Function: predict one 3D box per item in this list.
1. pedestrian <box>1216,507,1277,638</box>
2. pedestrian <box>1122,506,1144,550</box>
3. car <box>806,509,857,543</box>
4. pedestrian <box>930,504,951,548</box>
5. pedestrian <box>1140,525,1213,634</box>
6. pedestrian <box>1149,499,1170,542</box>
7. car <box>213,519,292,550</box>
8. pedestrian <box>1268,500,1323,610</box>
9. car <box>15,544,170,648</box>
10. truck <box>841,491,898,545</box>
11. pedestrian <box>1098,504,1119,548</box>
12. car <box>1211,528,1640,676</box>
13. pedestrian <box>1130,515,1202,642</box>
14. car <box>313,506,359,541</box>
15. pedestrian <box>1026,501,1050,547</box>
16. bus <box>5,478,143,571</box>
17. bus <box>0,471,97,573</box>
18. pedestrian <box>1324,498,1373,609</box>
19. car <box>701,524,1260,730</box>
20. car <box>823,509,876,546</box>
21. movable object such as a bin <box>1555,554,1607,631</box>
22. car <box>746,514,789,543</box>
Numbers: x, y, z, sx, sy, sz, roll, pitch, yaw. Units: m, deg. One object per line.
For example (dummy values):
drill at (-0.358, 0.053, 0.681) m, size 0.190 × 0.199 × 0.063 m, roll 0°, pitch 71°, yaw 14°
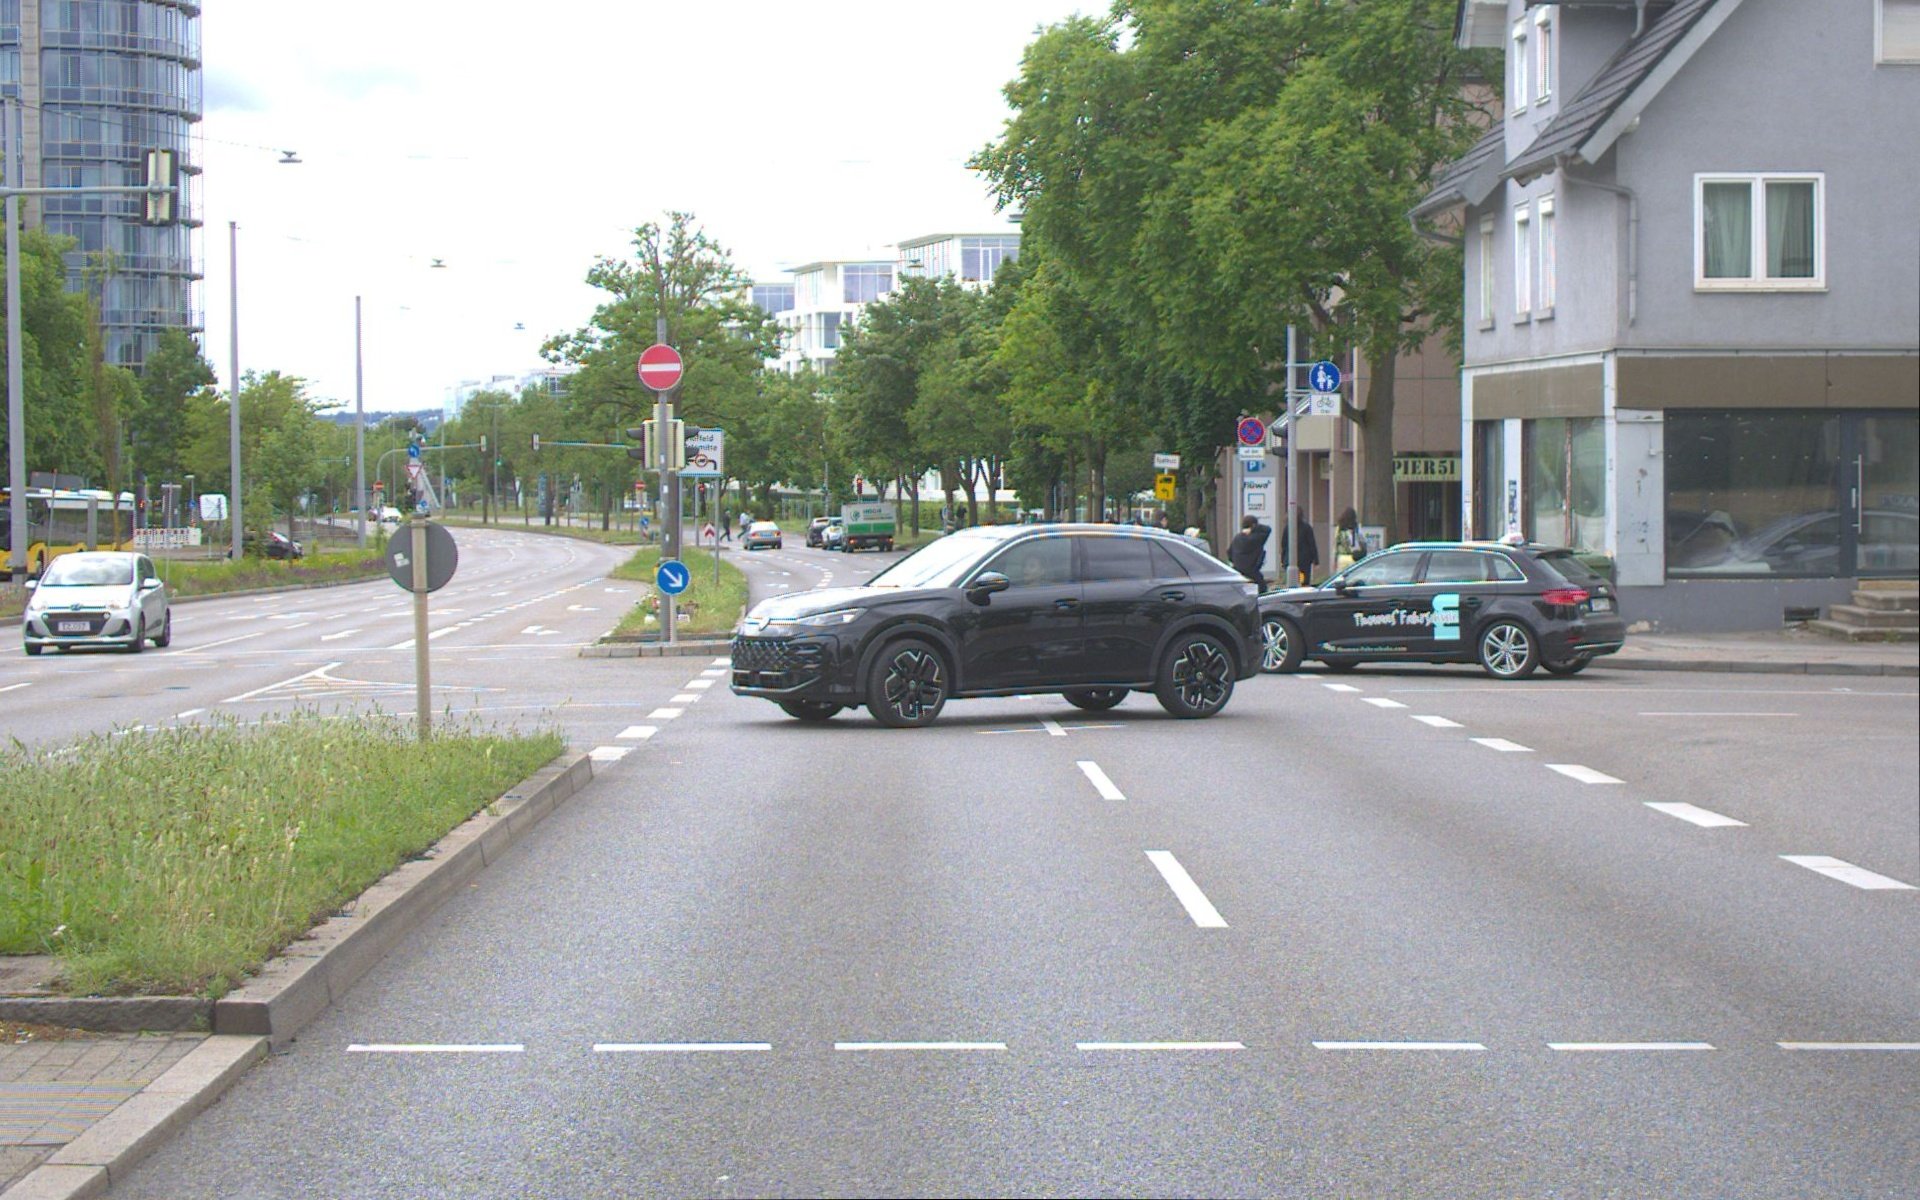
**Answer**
pedestrian at (3.915, -0.382, 47.015) m, size 0.705 × 1.754 × 1.052 m, roll -1°, pitch 1°, yaw -1°
pedestrian at (6.256, -2.594, 124.316) m, size 0.650 × 1.564 × 0.671 m, roll -1°, pitch 1°, yaw -8°
car at (-6.520, -3.730, 173.859) m, size 2.250 × 1.641 × 4.934 m, roll -1°, pitch 1°, yaw -5°
pedestrian at (-1.027, -3.902, 182.046) m, size 0.930 × 2.300 × 1.011 m, roll 1°, pitch 0°, yaw -10°
pedestrian at (3.022, -0.296, 48.032) m, size 0.867 × 1.502 × 0.708 m, roll -1°, pitch 1°, yaw -9°
pedestrian at (7.200, -2.864, 124.058) m, size 0.650 × 1.564 × 0.671 m, roll -1°, pitch 1°, yaw -8°
car at (-34.170, -3.165, 166.061) m, size 3.549 × 1.487 × 1.708 m, roll -1°, pitch 1°, yaw -5°
pedestrian at (5.103, -0.689, 52.203) m, size 0.705 × 1.656 × 0.870 m, roll 0°, pitch 1°, yaw 14°
car at (-12.810, -0.087, 50.923) m, size 1.684 × 1.457 × 3.556 m, roll -1°, pitch 1°, yaw -5°
truck at (-4.090, -3.698, 155.246) m, size 2.251 × 2.408 × 4.934 m, roll 0°, pitch 1°, yaw -5°
pedestrian at (5.362, -2.680, 124.238) m, size 0.650 × 1.564 × 0.671 m, roll -1°, pitch 1°, yaw -8°
car at (4.919, 0.002, 36.437) m, size 4.092 × 1.489 × 1.892 m, roll 0°, pitch 1°, yaw 30°
pedestrian at (2.915, -0.310, 48.791) m, size 0.867 × 1.773 × 0.708 m, roll -1°, pitch 1°, yaw -9°
car at (-36.350, -4.447, 200.259) m, size 1.965 × 2.007 × 4.000 m, roll 1°, pitch 1°, yaw -1°
pedestrian at (3.470, -3.356, 152.598) m, size 0.971 × 2.007 × 0.981 m, roll 1°, pitch 0°, yaw -1°
bus at (-31.745, -2.699, 123.466) m, size 3.144 × 3.214 × 7.766 m, roll -1°, pitch 1°, yaw -2°
bus at (-31.406, -2.559, 114.462) m, size 3.144 × 3.214 × 10.286 m, roll -1°, pitch 1°, yaw -3°
pedestrian at (5.881, -0.699, 51.970) m, size 0.705 × 1.656 × 0.870 m, roll 0°, pitch 1°, yaw 8°
car at (0.170, 0.162, 27.404) m, size 4.058 × 1.516 × 1.841 m, roll -1°, pitch 2°, yaw -27°
car at (-5.328, -3.467, 165.090) m, size 2.251 × 1.751 × 4.934 m, roll -1°, pitch 1°, yaw -5°
movable object such as a bin at (7.955, -0.102, 44.049) m, size 0.529 × 0.976 × 0.736 m, roll -1°, pitch 1°, yaw -1°
car at (-9.705, -3.584, 173.151) m, size 1.967 × 1.415 × 4.023 m, roll -1°, pitch 1°, yaw -5°
